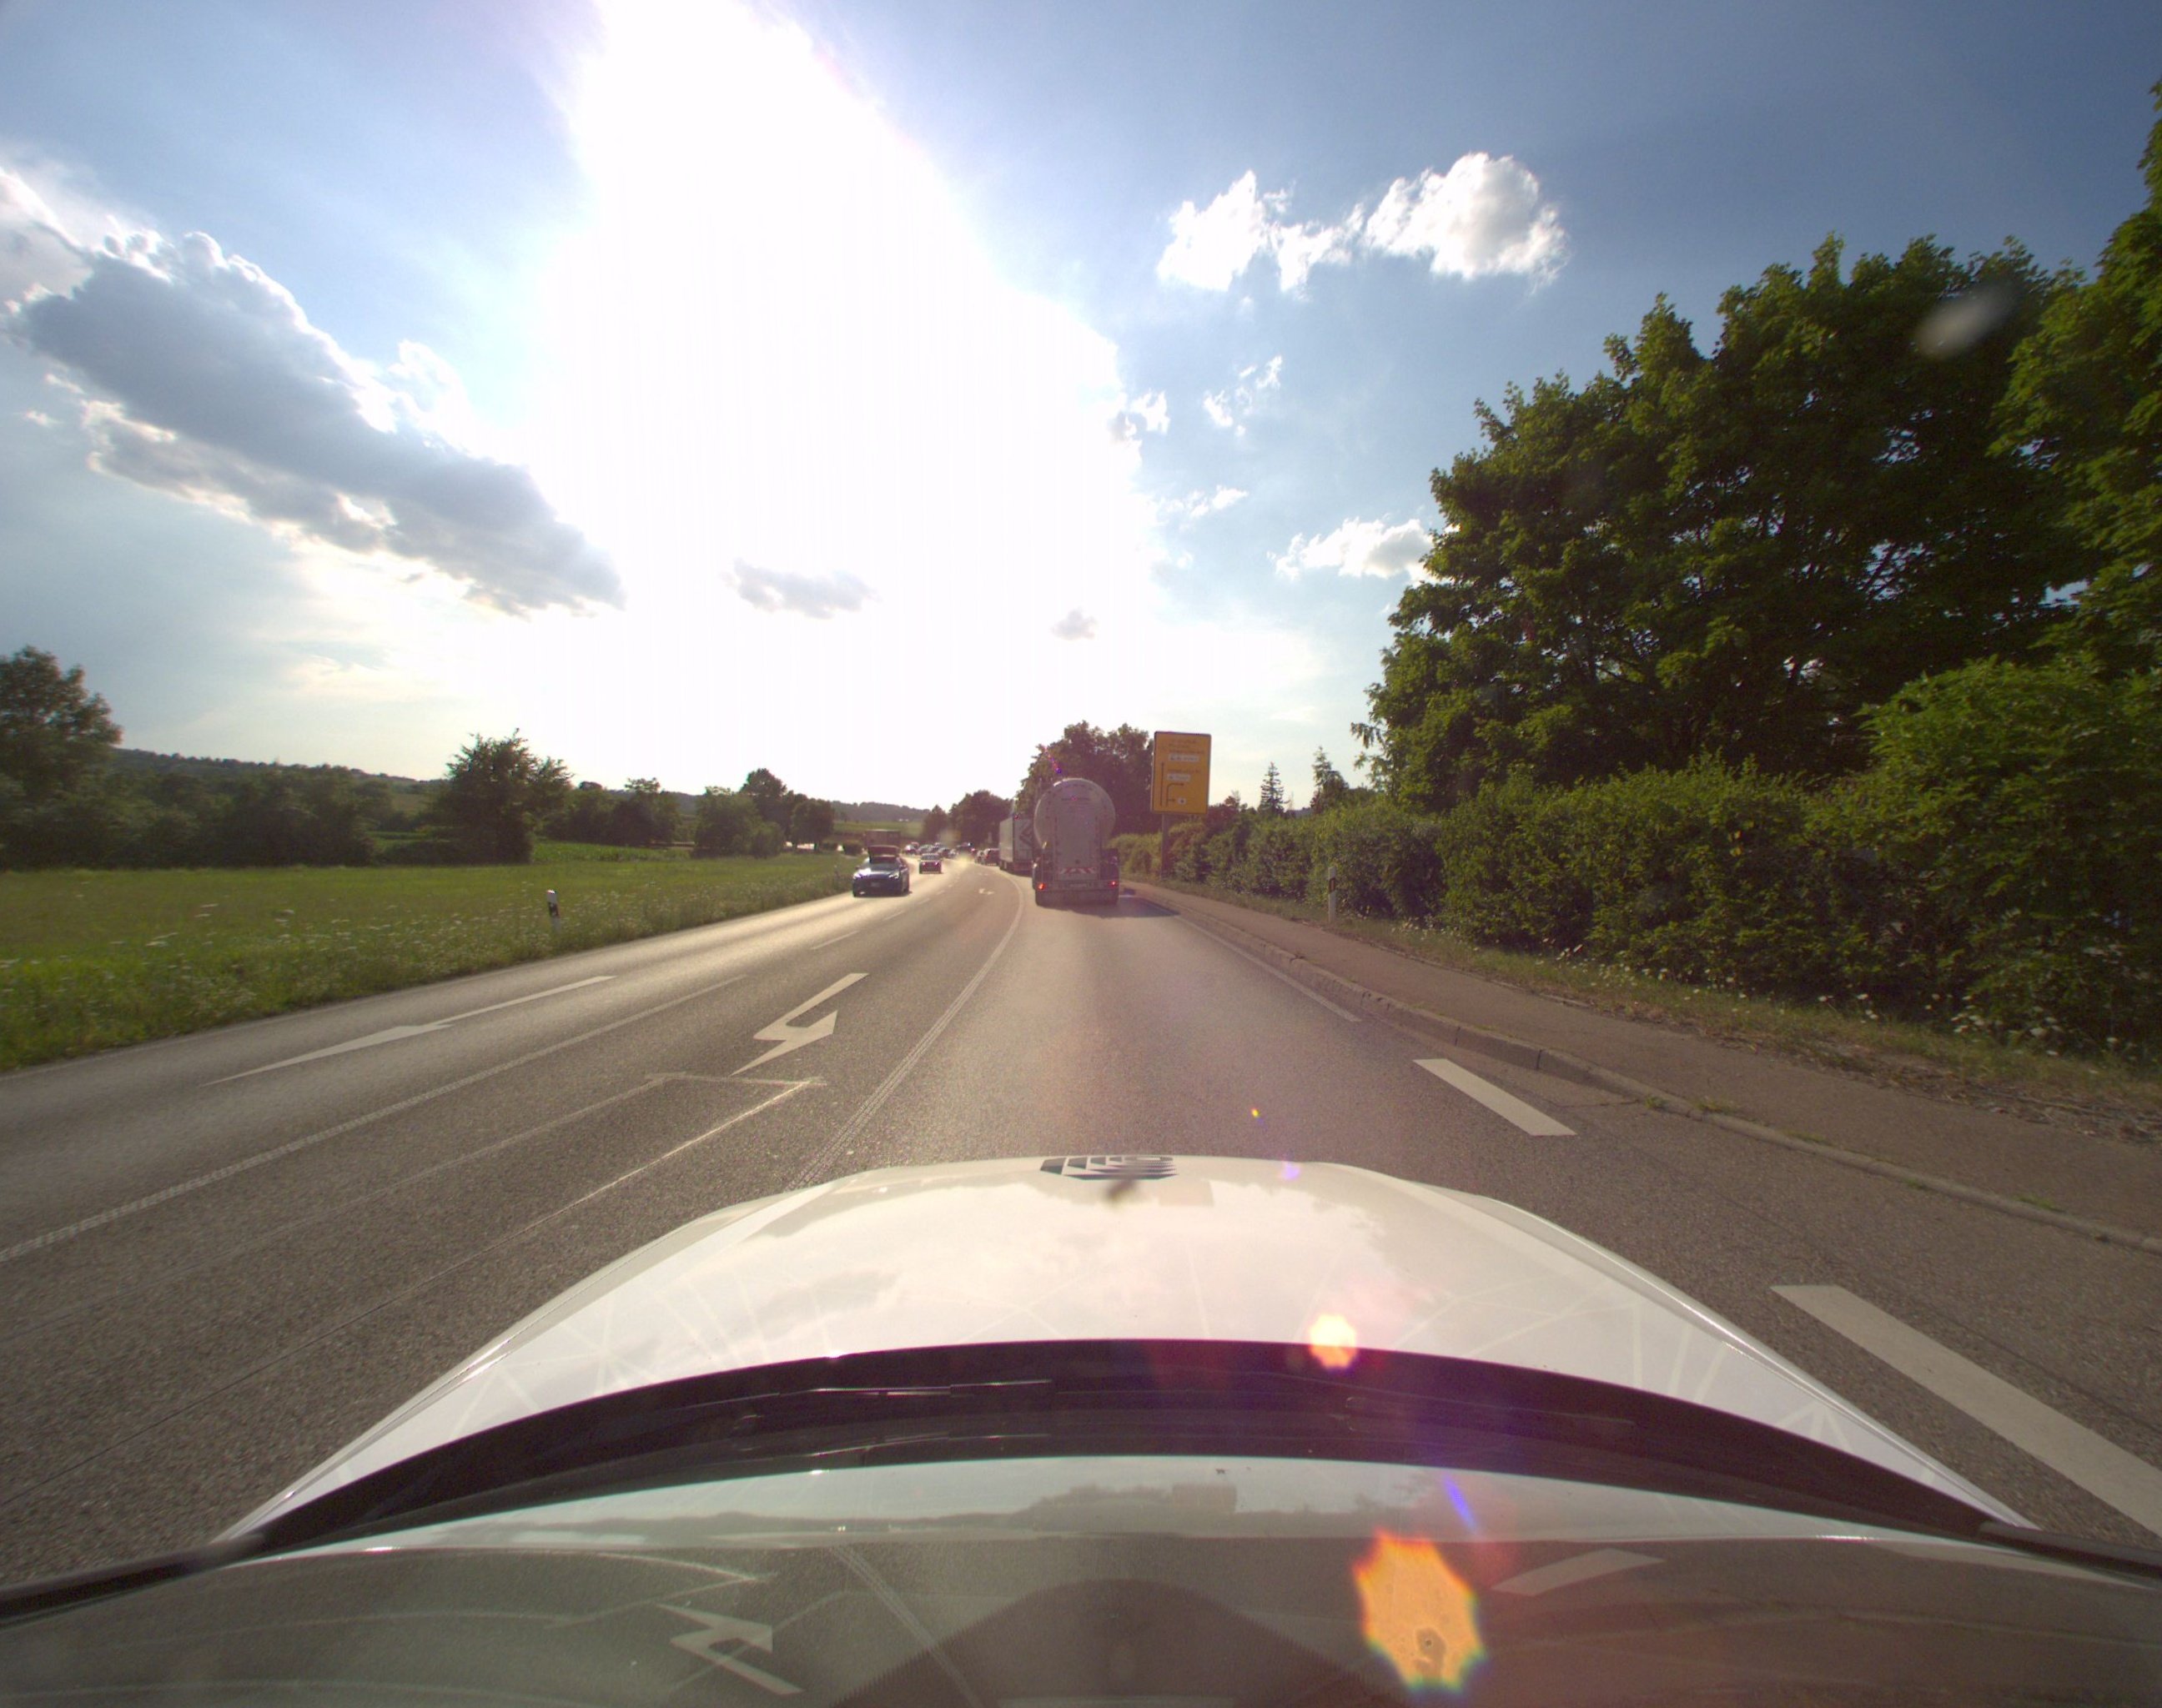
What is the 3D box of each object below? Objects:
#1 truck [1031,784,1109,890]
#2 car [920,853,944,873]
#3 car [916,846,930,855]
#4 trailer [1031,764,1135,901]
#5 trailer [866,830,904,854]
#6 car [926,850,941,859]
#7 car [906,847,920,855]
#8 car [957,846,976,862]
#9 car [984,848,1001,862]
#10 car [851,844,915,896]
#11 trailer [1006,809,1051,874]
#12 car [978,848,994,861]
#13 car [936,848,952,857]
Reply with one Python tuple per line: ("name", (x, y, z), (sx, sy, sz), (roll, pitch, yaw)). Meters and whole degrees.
("truck", (-0.534, -0.657, 33.104), (2.904, 4.006, 4.053), (-1, 0, -5))
("car", (-11.190, 0.658, 61.191), (1.585, 1.466, 3.596), (-2, 0, -9))
("car", (-25.906, -0.608, 133.682), (1.587, 1.340, 3.399), (1, 0, -23))
("trailer", (-0.234, -0.658, 28.771), (2.904, 4.006, 9.915), (-1, 0, -4))
("trailer", (-37.759, -2.232, 156.343), (3.396, 4.350, 14.161), (1, 0, -29))
("car", (-22.852, 0.035, 125.915), (1.587, 1.340, 3.399), (1, 0, -23))
("car", (-28.881, -0.529, 139.909), (1.777, 1.206, 3.399), (1, 0, -23))
("car", (-14.946, -0.064, 106.296), (1.866, 2.013, 3.698), (-1, 0, -16))
("car", (-9.124, 0.099, 83.832), (1.580, 1.340, 3.415), (1, 0, -9))
("car", (-7.763, 0.590, 32.238), (1.721, 1.882, 4.329), (-2, 0, -5))
("trailer", (-4.162, -0.851, 61.607), (2.951, 4.315, 14.147), (1, 0, -6))
("car", (-10.790, 0.041, 92.267), (1.581, 1.340, 3.412), (1, 0, -11))
("car", (-20.201, -0.246, 120.026), (1.587, 1.340, 3.399), (1, 0, -23))
